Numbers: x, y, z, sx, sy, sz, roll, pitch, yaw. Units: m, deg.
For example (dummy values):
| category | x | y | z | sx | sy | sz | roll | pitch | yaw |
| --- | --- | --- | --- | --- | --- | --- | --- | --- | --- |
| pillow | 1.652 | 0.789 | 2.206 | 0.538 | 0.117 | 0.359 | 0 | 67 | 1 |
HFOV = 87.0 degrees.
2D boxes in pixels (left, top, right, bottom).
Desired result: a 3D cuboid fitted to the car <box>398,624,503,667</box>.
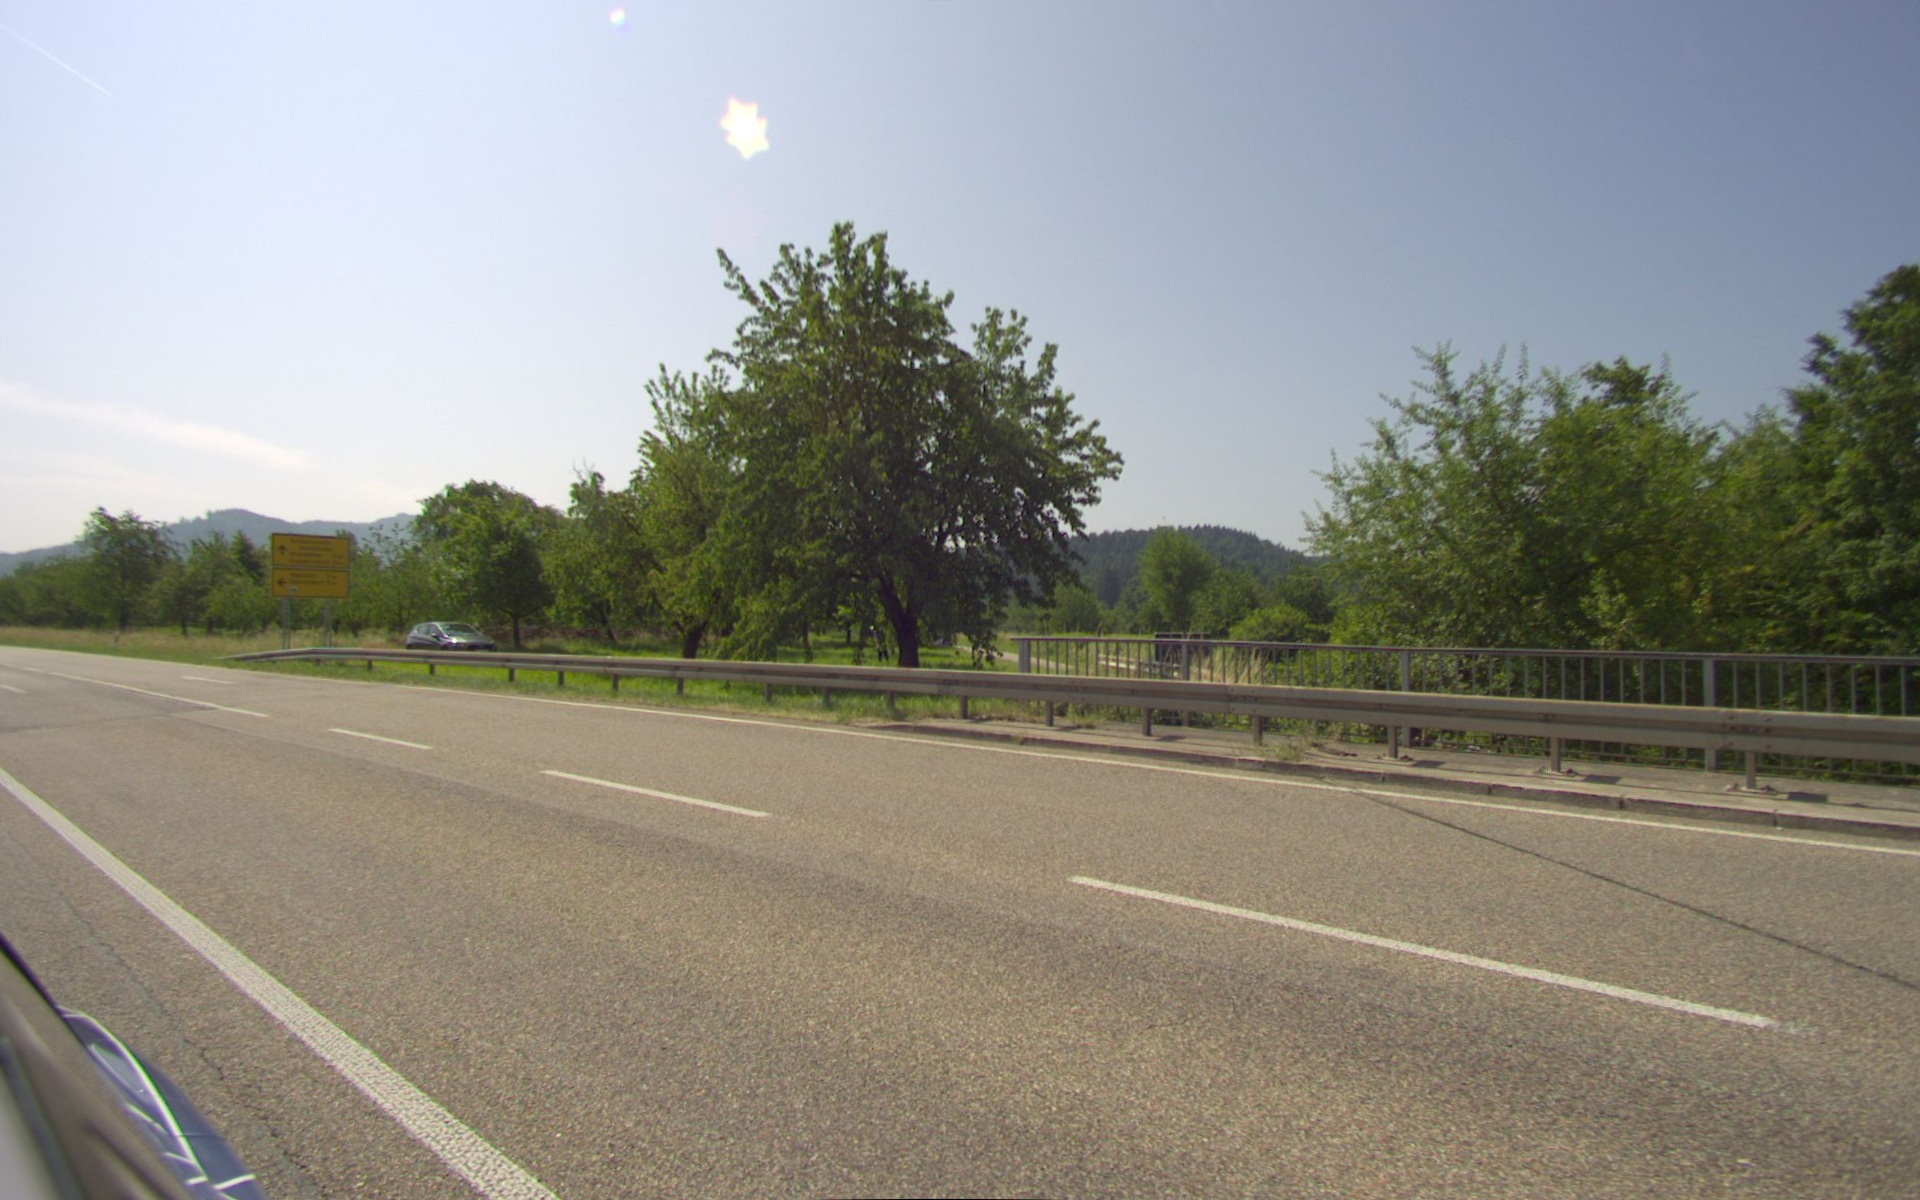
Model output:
| category | x | y | z | sx | sy | sz | roll | pitch | yaw |
| --- | --- | --- | --- | --- | --- | --- | --- | --- | --- |
| car | -18.192 | 1.591 | 36.094 | 4.035 | 1.434 | 1.689 | -1 | -2 | 36 |

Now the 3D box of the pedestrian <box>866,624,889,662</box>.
| category | x | y | z | sx | sy | sz | roll | pitch | yaw |
| --- | --- | --- | --- | --- | --- | --- | --- | --- | --- |
| pedestrian | -2.852 | 1.485 | 34.986 | 0.556 | 1.307 | 0.567 | -1 | -1 | 42 |
